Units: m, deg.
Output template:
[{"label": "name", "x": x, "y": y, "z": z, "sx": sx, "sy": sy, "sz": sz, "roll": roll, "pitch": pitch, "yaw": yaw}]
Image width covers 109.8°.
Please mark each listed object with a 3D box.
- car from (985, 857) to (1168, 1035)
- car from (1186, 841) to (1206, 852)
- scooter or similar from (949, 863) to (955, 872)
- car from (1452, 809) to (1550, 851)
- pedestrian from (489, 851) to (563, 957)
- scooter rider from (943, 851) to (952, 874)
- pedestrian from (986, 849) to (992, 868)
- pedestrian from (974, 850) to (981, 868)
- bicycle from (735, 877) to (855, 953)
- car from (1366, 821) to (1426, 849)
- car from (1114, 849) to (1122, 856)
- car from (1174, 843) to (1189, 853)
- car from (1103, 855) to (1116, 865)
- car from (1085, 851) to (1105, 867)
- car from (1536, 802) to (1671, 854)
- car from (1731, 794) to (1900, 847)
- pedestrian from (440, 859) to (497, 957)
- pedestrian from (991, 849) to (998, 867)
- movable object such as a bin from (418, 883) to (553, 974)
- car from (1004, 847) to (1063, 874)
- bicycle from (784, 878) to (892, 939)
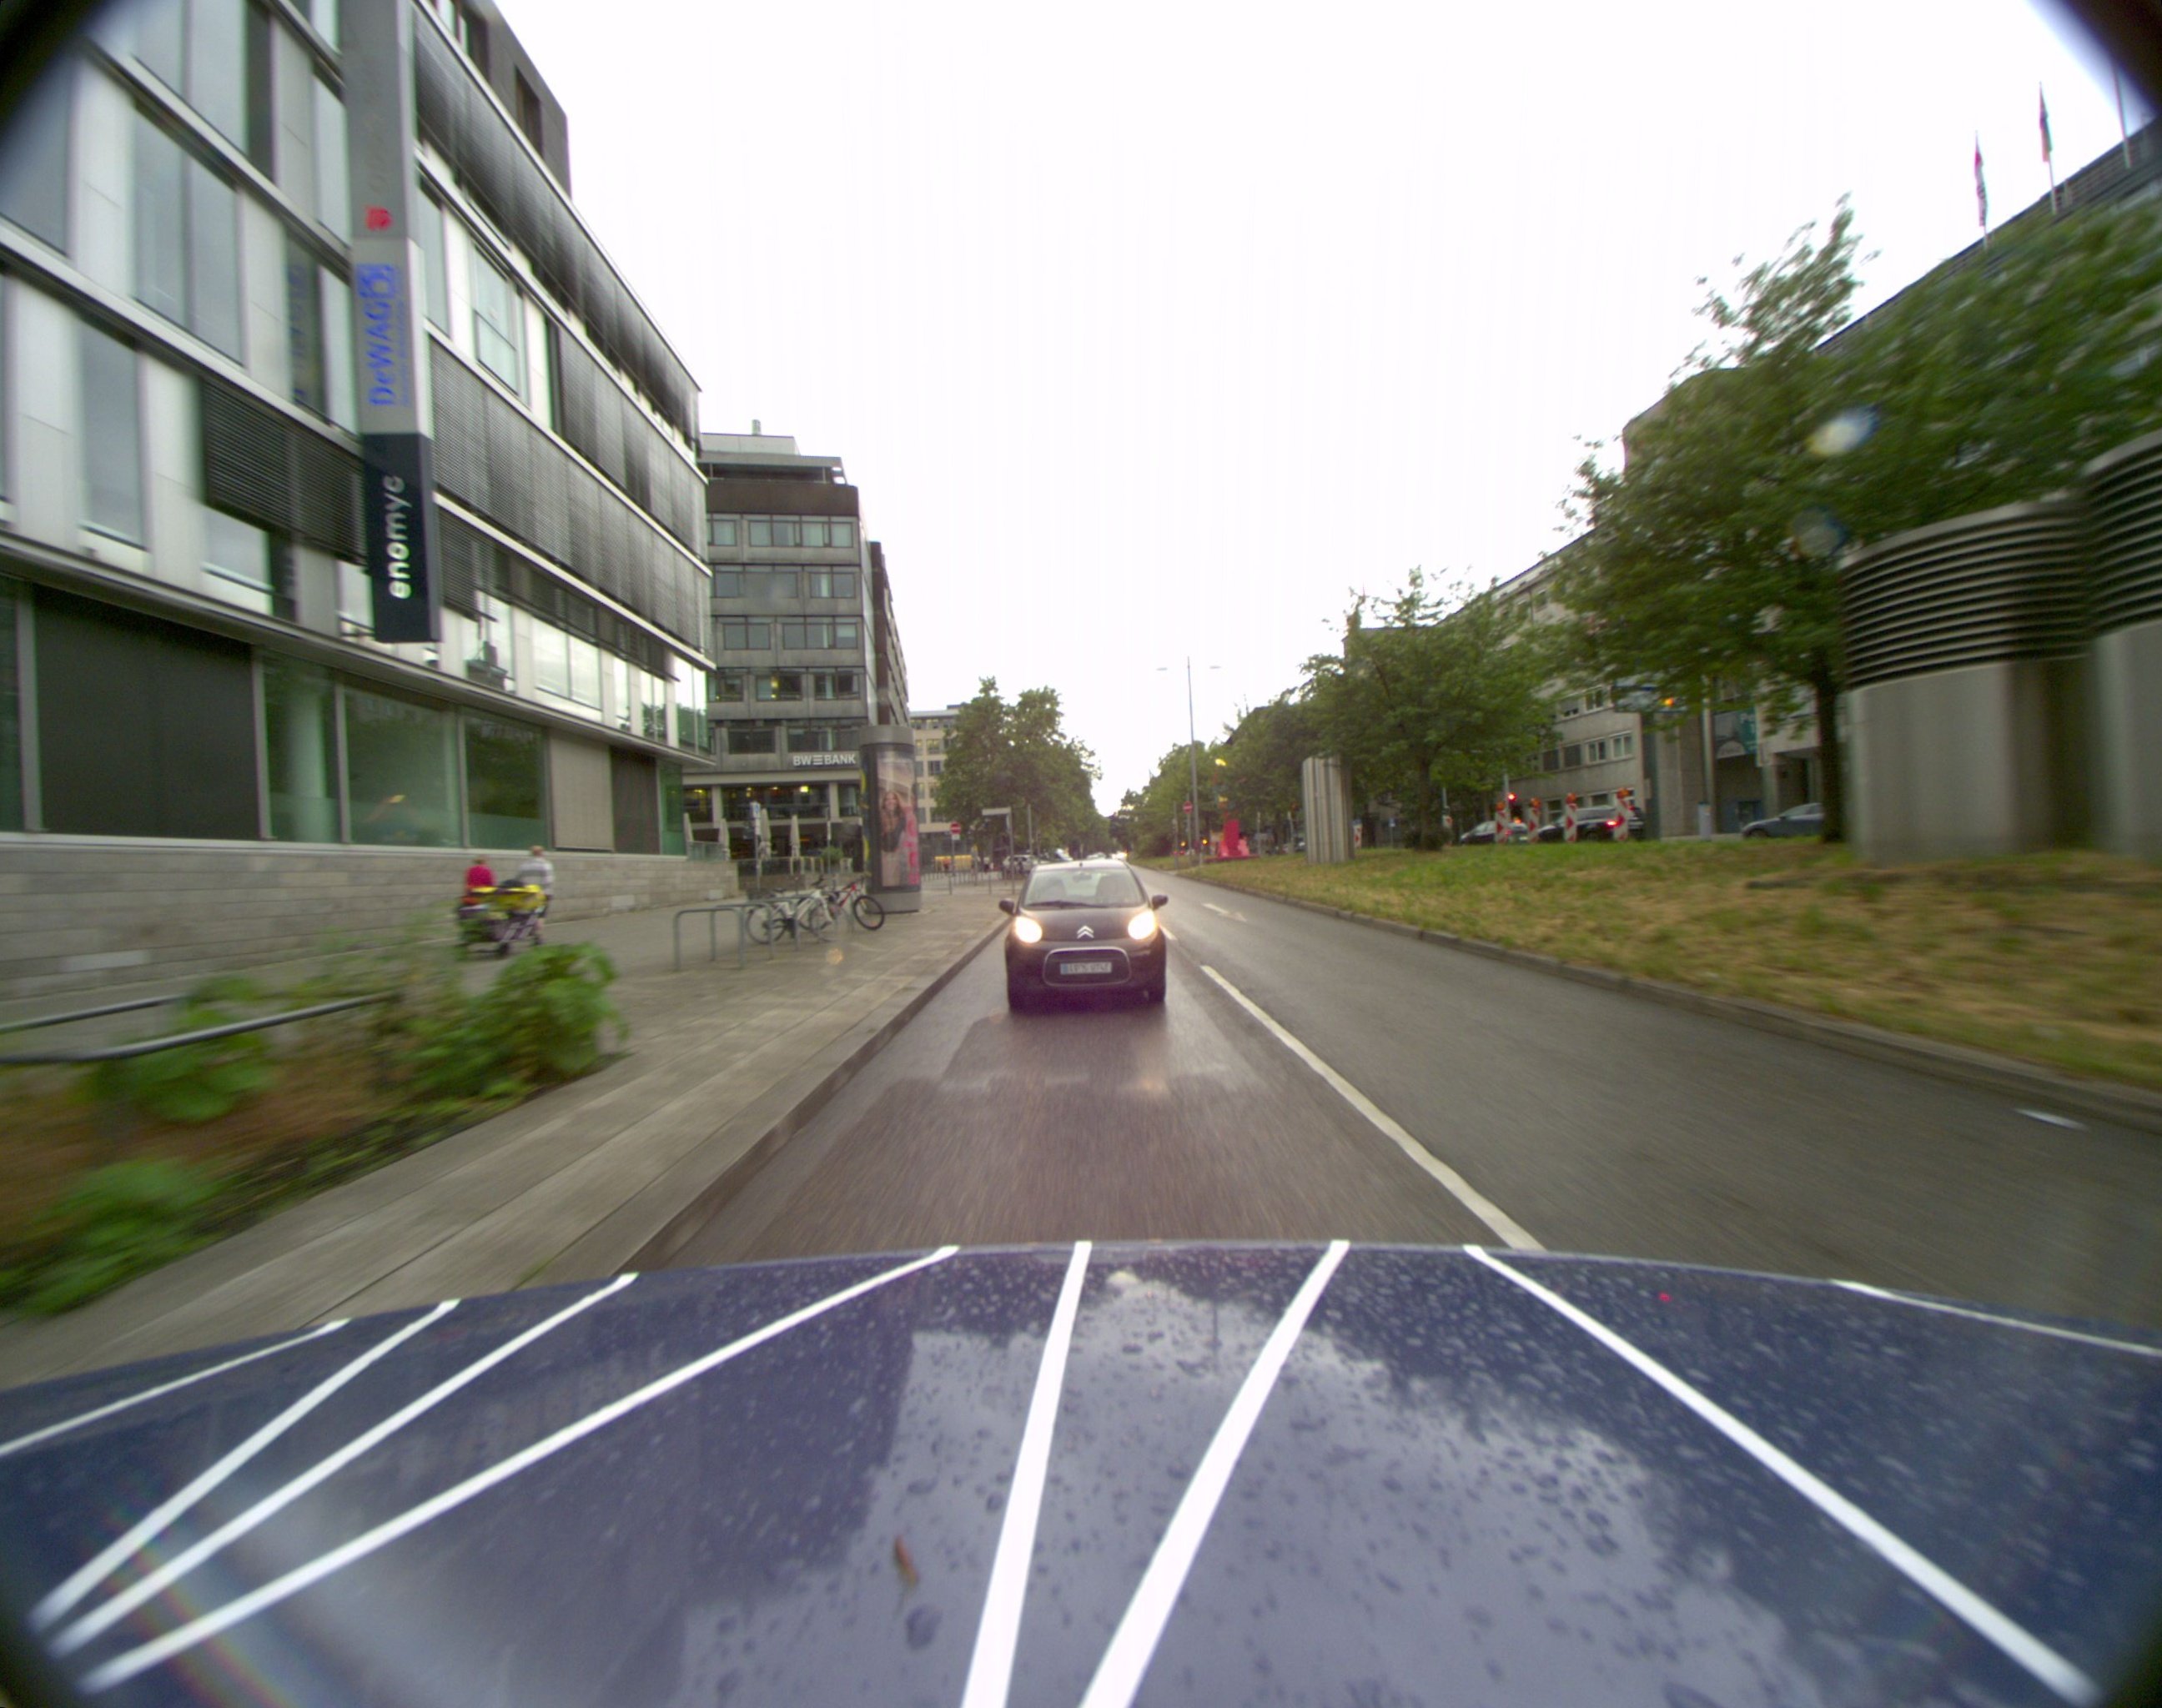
[{"label": "car", "x": -0.042, "y": 0.848, "z": 8.794, "sx": 1.595, "sy": 1.501, "sz": 3.708, "roll": -3, "pitch": 1, "yaw": 0}, {"label": "car", "x": 17.382, "y": -1.130, "z": 115.016, "sx": 2.072, "sy": 1.578, "sz": 4.106, "roll": -5, "pitch": 1, "yaw": -1}, {"label": "scooter or similar", "x": -11.762, "y": 1.204, "z": 69.427, "sx": 0.408, "sy": 0.768, "sz": 1.276, "roll": -3, "pitch": 1, "yaw": -3}, {"label": "car", "x": 18.318, "y": -1.014, "z": 33.374, "sx": 1.880, "sy": 1.571, "sz": 4.106, "roll": -5, "pitch": 1, "yaw": -1}, {"label": "pedestrian", "x": -9.894, "y": 0.872, "z": 13.568, "sx": 0.723, "sy": 1.820, "sz": 0.746, "roll": -1, "pitch": 1, "yaw": -3}, {"label": "scooter rider", "x": -12.139, "y": 0.776, "z": 69.346, "sx": 0.627, "sy": 2.013, "sz": 0.854, "roll": -3, "pitch": 1, "yaw": -4}, {"label": "pedestrian", "x": -8.625, "y": 0.409, "z": 71.422, "sx": 0.452, "sy": 1.692, "sz": 0.497, "roll": -2, "pitch": 2, "yaw": 0}, {"label": "pedestrian", "x": -9.735, "y": 0.453, "z": 71.554, "sx": 0.552, "sy": 1.692, "sz": 0.547, "roll": -2, "pitch": 2, "yaw": 0}, {"label": "bicycle", "x": -4.895, "y": 1.030, "z": 13.117, "sx": 1.797, "sy": 1.200, "sz": 0.669, "roll": -2, "pitch": 1, "yaw": -8}, {"label": "car", "x": 19.738, "y": -1.163, "z": 47.779, "sx": 1.880, "sy": 1.571, "sz": 4.106, "roll": -5, "pitch": 1, "yaw": -1}, {"label": "car", "x": 9.265, "y": -0.353, "z": 190.235, "sx": 1.799, "sy": 1.501, "sz": 4.499, "roll": -3, "pitch": 1, "yaw": -1}, {"label": "car", "x": 17.812, "y": -1.123, "z": 134.830, "sx": 2.072, "sy": 1.578, "sz": 4.106, "roll": -5, "pitch": 1, "yaw": -1}, {"label": "car", "x": 4.192, "y": 0.861, "z": 110.939, "sx": 1.605, "sy": 1.377, "sz": 3.019, "roll": -5, "pitch": 1, "yaw": -2}, {"label": "car", "x": 1.568, "y": 0.570, "z": 88.499, "sx": 2.072, "sy": 1.578, "sz": 4.106, "roll": -5, "pitch": 1, "yaw": -1}, {"label": "car", "x": 18.565, "y": -0.885, "z": 27.256, "sx": 1.880, "sy": 1.571, "sz": 4.106, "roll": -5, "pitch": 1, "yaw": -1}, {"label": "car", "x": 25.259, "y": -1.096, "z": 26.342, "sx": 1.575, "sy": 1.571, "sz": 4.105, "roll": -5, "pitch": 1, "yaw": -6}, {"label": "pedestrian", "x": -10.908, "y": 0.938, "z": 13.549, "sx": 0.485, "sy": 1.689, "sz": 0.579, "roll": -1, "pitch": 1, "yaw": -3}, {"label": "pedestrian", "x": -8.168, "y": 0.385, "z": 71.708, "sx": 0.452, "sy": 1.692, "sz": 0.497, "roll": -2, "pitch": 2, "yaw": 0}, {"label": "movable object such as a bin", "x": -9.572, "y": 1.150, "z": 12.321, "sx": 0.805, "sy": 1.258, "sz": 1.787, "roll": -1, "pitch": 1, "yaw": -3}, {"label": "car", "x": -3.827, "y": 0.550, "z": 60.641, "sx": 4.202, "sy": 1.802, "sz": 2.003, "roll": -4, "pitch": 1, "yaw": 33}, {"label": "bicycle", "x": -4.751, "y": 1.057, "z": 14.951, "sx": 1.876, "sy": 1.104, "sz": 0.669, "roll": -2, "pitch": 1, "yaw": -1}]
